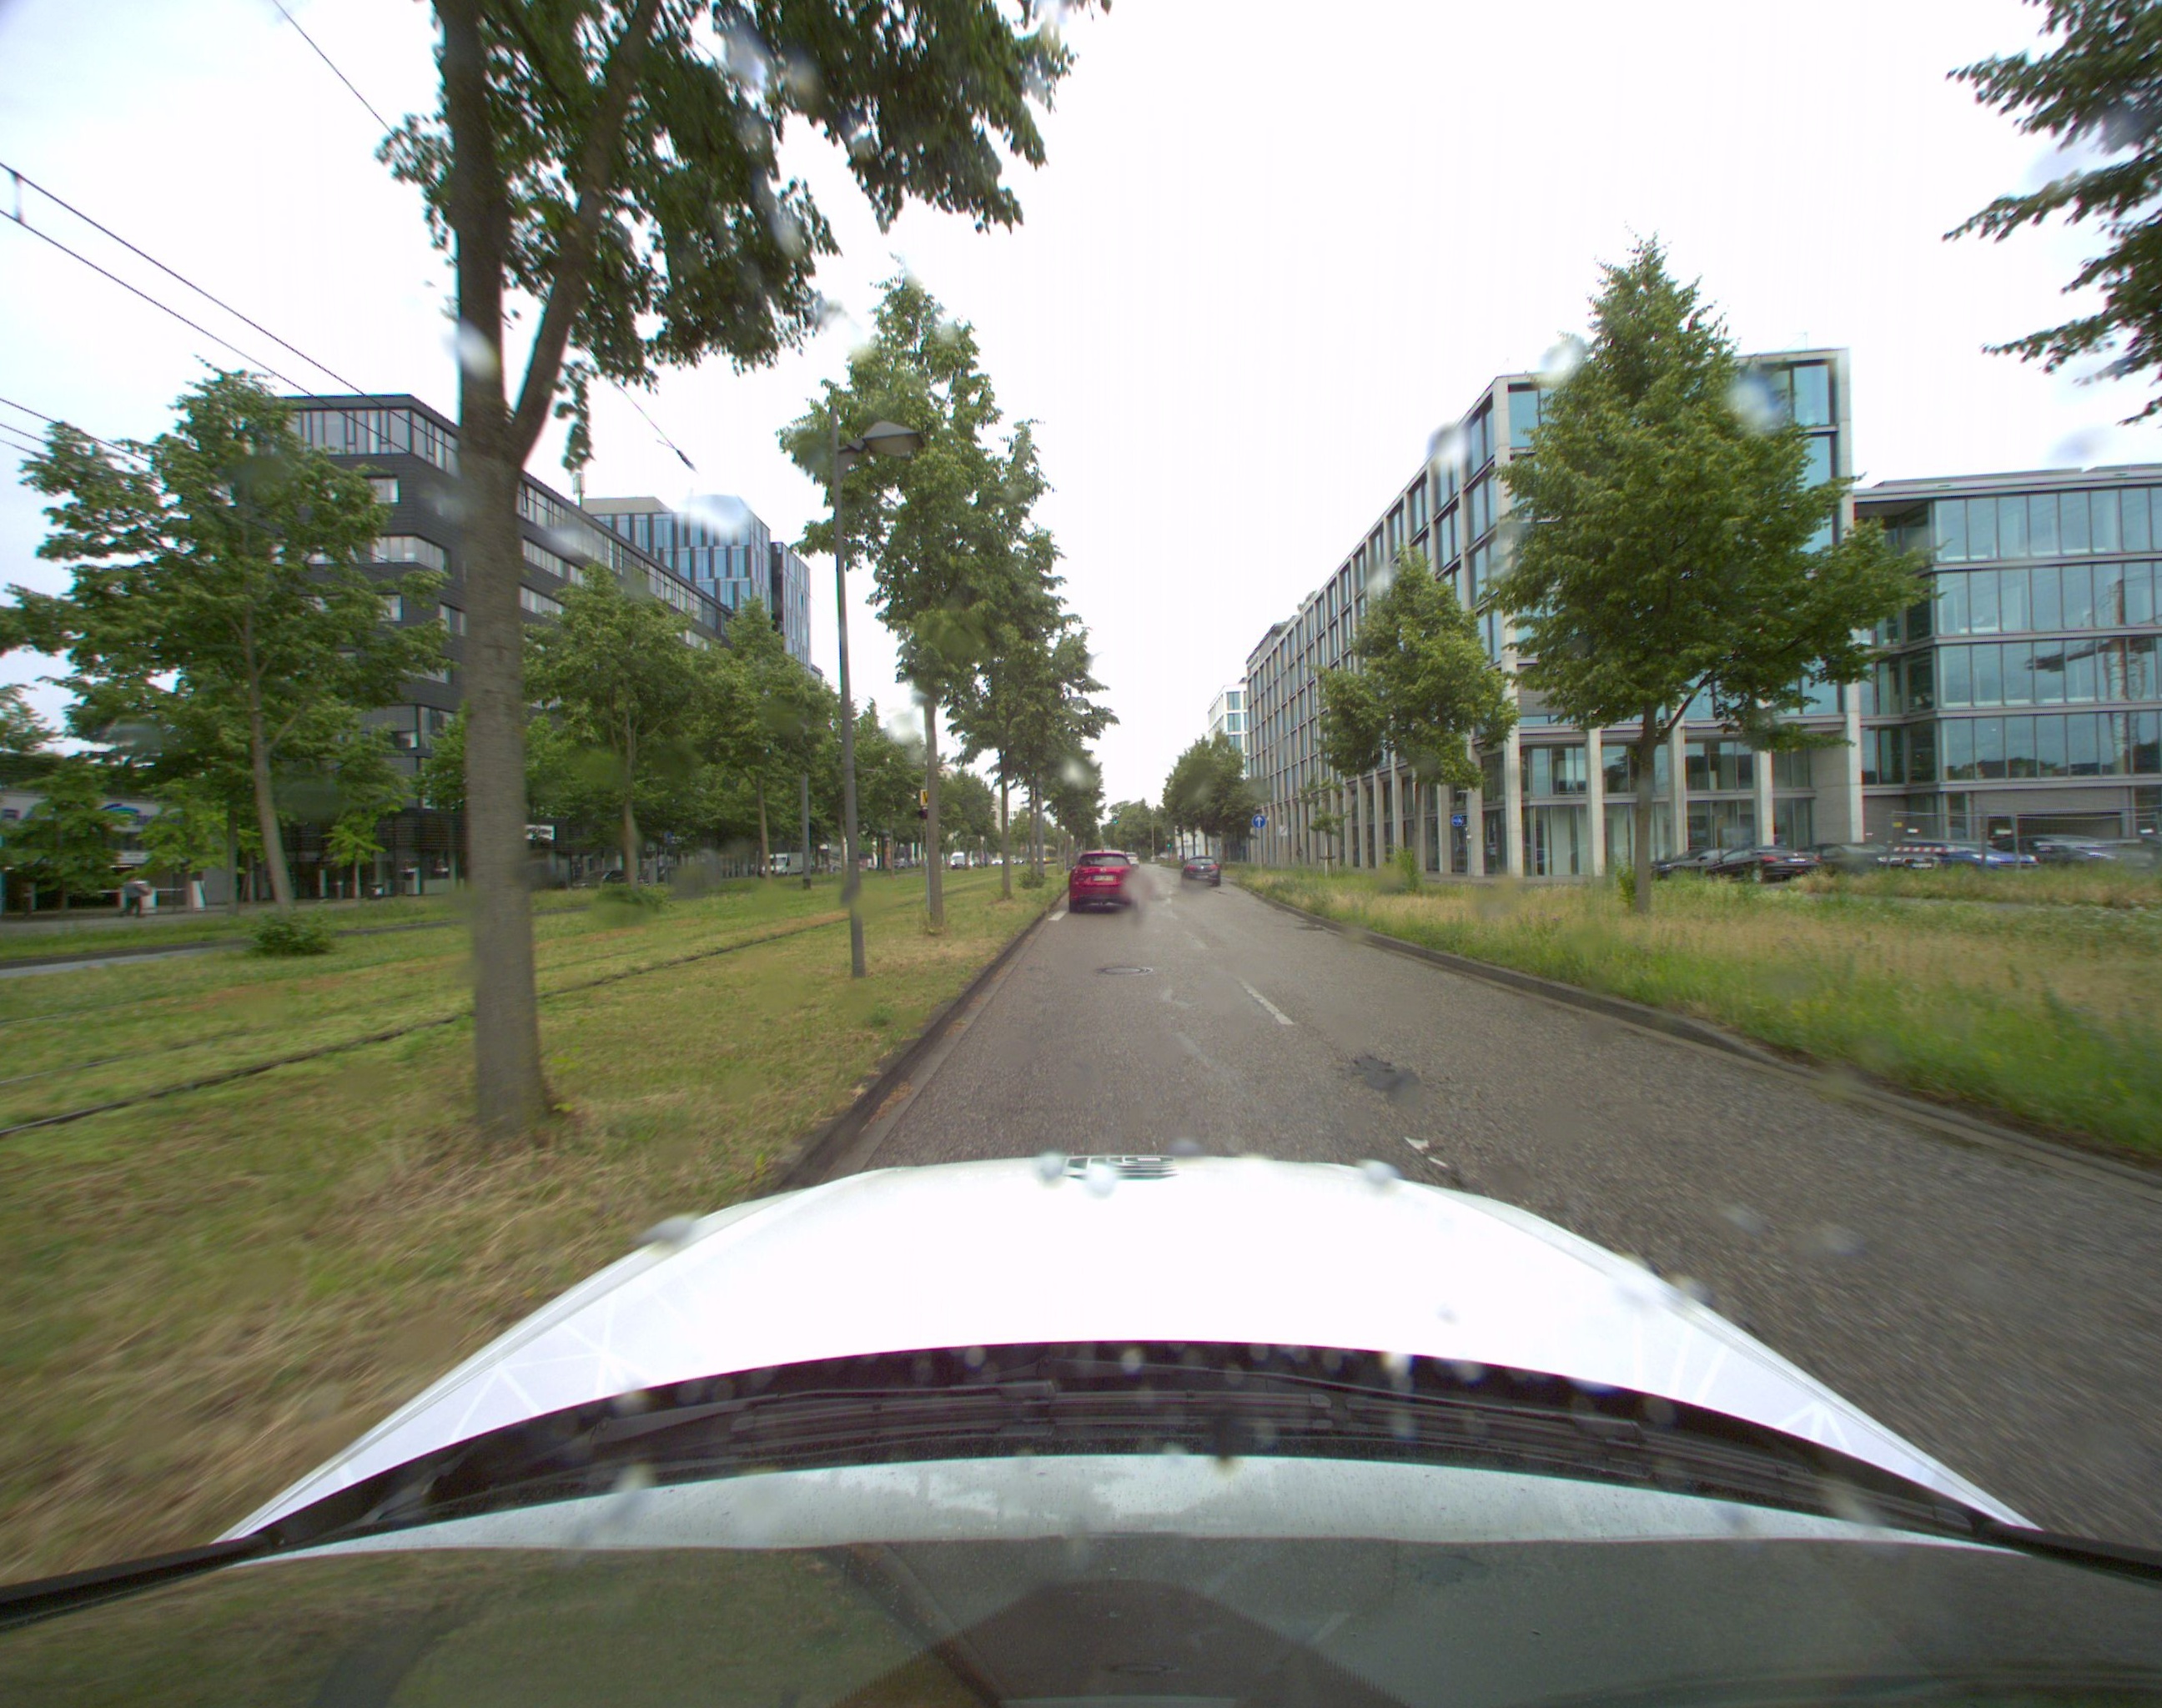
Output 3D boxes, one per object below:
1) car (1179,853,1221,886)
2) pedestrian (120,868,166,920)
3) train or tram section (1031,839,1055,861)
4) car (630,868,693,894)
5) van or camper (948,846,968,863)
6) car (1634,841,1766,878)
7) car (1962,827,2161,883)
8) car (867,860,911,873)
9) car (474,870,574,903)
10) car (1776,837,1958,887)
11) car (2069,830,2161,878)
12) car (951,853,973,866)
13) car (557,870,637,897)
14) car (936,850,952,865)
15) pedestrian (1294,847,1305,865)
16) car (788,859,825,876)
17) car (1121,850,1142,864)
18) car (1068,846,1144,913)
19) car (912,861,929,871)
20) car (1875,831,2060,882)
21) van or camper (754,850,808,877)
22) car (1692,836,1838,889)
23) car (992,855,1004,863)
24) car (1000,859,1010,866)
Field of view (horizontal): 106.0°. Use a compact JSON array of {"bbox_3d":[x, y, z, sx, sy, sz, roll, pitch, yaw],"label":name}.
[{"bbox_3d":[5.603,0.692,38.698,1.735,1.465,3.786,-1,0,4],"label":"car"},{"bbox_3d":[-36.827,1.561,31.980,0.790,1.981,0.858,-1,0,9],"label":"pedestrian"},{"bbox_3d":[-6.615,-0.651,143.074,3.118,3.659,13.409,-1,0,1],"label":"train or tram section"},{"bbox_3d":[-26.514,1.661,51.590,1.696,1.449,4.242,-1,0,1],"label":"car"},{"bbox_3d":[-17.688,0.103,117.651,1.902,2.410,5.404,-1,0,2],"label":"van or camper"},{"bbox_3d":[27.079,0.236,35.751,4.197,1.437,1.985,-1,2,6],"label":"car"},{"bbox_3d":[31.392,0.016,26.093,1.845,1.601,4.424,-1,0,6],"label":"car"},{"bbox_3d":[-22.991,1.482,97.603,4.699,1.521,1.979,-1,0,-34],"label":"car"},{"bbox_3d":[-26.848,1.526,39.407,1.986,1.378,4.001,-1,0,1],"label":"car"},{"bbox_3d":[25.196,0.229,26.370,1.845,1.454,4.565,-1,0,6],"label":"car"},{"bbox_3d":[33.915,-0.017,25.208,1.776,1.475,4.238,-1,0,6],"label":"car"},{"bbox_3d":[-14.526,0.609,99.586,1.856,1.524,4.480,-1,0,2],"label":"car"},{"bbox_3d":[-27.125,1.629,45.816,1.986,1.378,4.001,-1,0,1],"label":"car"},{"bbox_3d":[-24.480,0.585,145.733,2.250,2.561,4.650,-1,0,-3],"label":"car"},{"bbox_3d":[21.173,0.213,78.976,0.714,1.714,0.861,-3,0,0],"label":"pedestrian"},{"bbox_3d":[-26.381,1.249,78.409,1.987,1.521,4.606,-1,0,0],"label":"car"},{"bbox_3d":[5.290,0.334,85.877,1.961,1.437,4.552,0,0,0],"label":"car"},{"bbox_3d":[0.662,0.635,22.735,1.892,1.677,4.000,-1,0,1],"label":"car"},{"bbox_3d":[-25.560,1.952,130.002,1.989,1.484,4.441,-1,0,-3],"label":"car"},{"bbox_3d":[28.161,0.060,26.085,1.845,1.454,4.007,-1,0,6],"label":"car"},{"bbox_3d":[-26.578,0.790,72.433,2.424,2.315,5.851,-1,0,1],"label":"van or camper"},{"bbox_3d":[22.450,0.238,26.950,1.844,1.580,4.010,-1,0,8],"label":"car"},{"bbox_3d":[-15.198,0.914,149.520,1.704,1.404,4.001,-1,0,1],"label":"car"},{"bbox_3d":[-18.021,1.941,193.920,1.987,1.618,3.999,-1,0,-1],"label":"car"}]
